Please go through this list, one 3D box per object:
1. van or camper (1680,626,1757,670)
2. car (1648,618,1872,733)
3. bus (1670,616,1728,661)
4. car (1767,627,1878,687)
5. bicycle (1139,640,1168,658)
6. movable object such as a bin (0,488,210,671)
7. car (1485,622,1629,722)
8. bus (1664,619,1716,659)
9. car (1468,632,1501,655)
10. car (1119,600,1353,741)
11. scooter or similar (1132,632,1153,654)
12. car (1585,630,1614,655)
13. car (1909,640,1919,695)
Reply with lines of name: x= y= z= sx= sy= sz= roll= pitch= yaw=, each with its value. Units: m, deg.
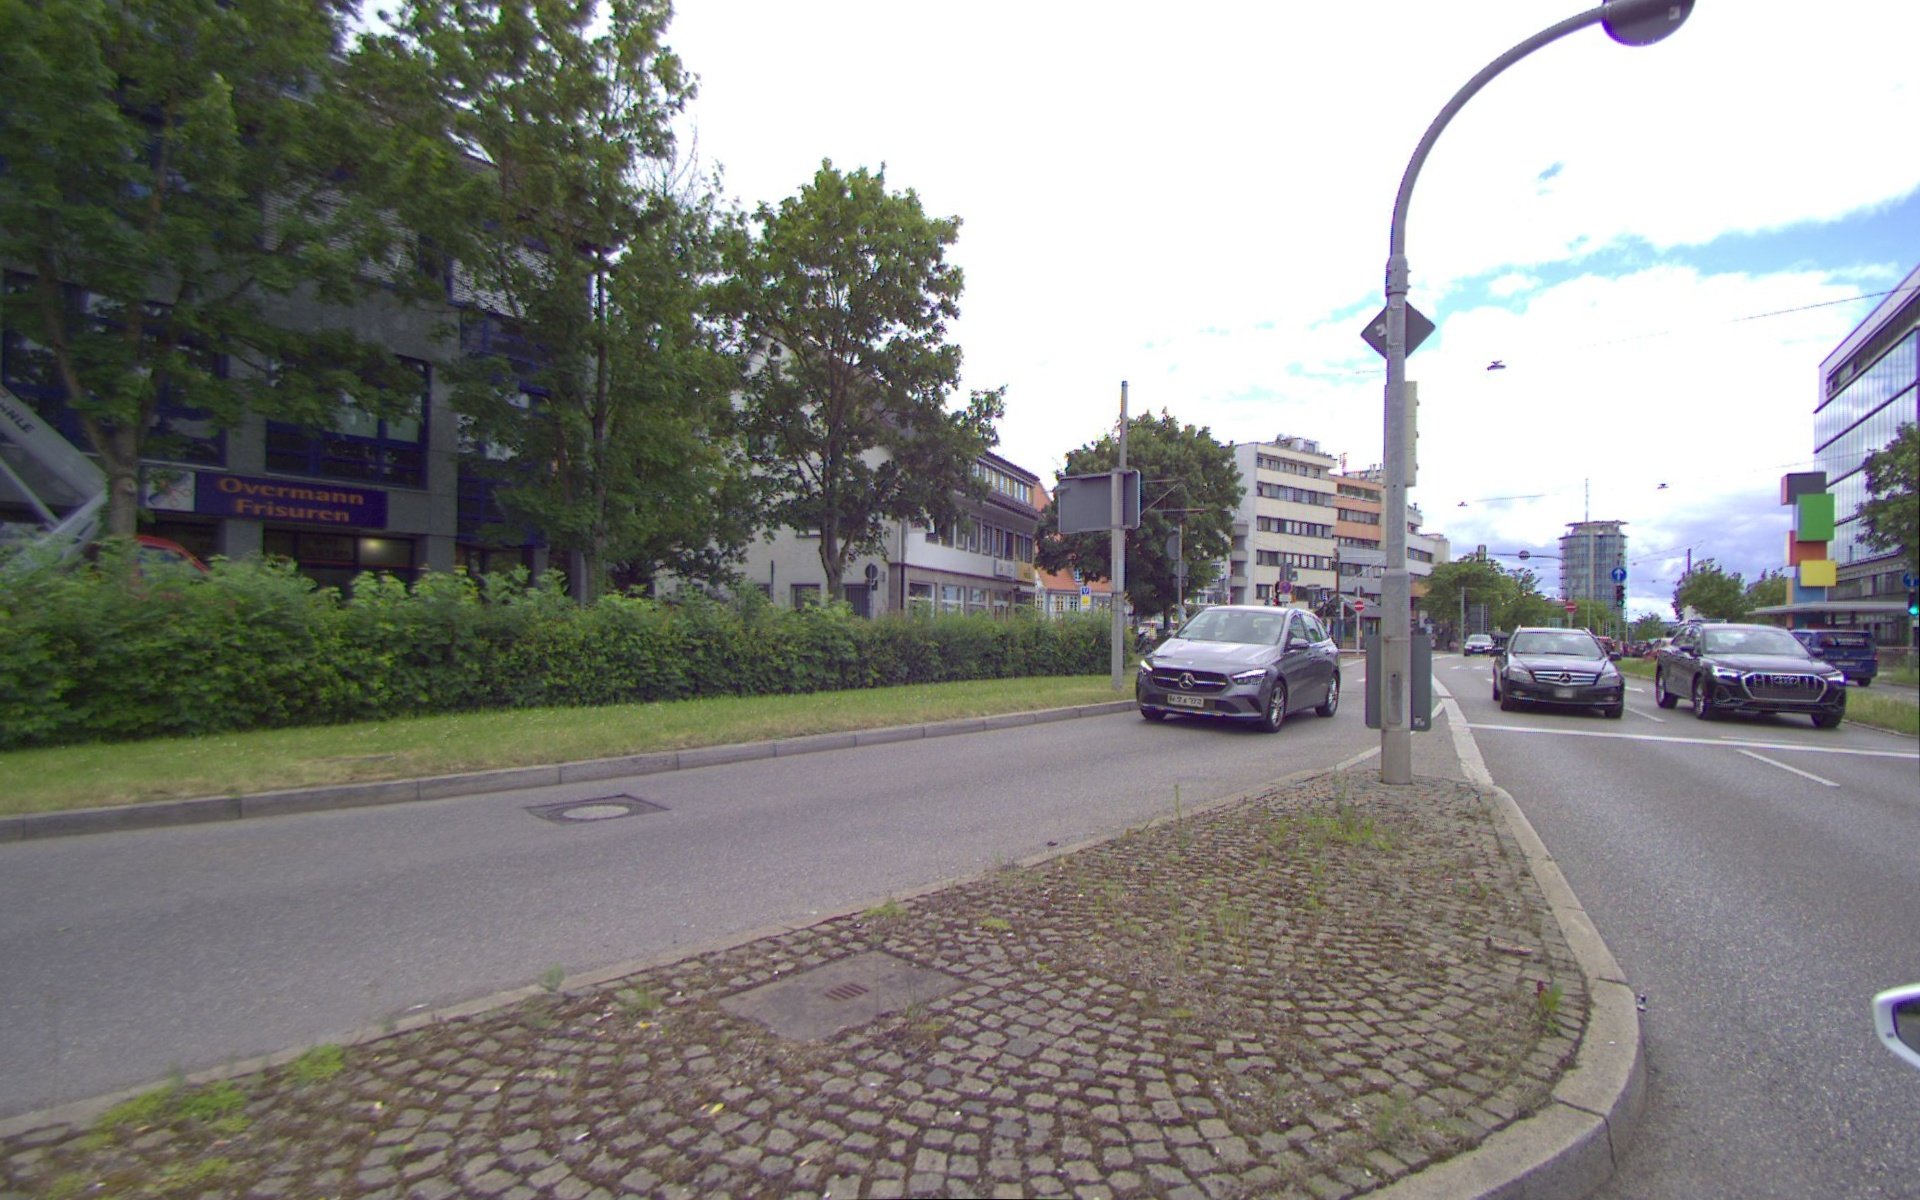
van or camper: x=37.470 y=2.322 z=49.721 sx=1.961 sy=1.943 sz=4.407 roll=1 pitch=0 yaw=23
car: x=13.411 y=1.161 z=17.173 sx=1.858 sy=1.585 sz=4.393 roll=2 pitch=0 yaw=23
bus: x=56.073 y=2.958 z=76.389 sx=2.925 sy=3.157 sz=9.221 roll=-1 pitch=-3 yaw=33
car: x=30.625 y=1.956 z=35.822 sx=1.873 sy=1.884 sz=4.704 roll=2 pitch=0 yaw=27
bicycle: x=8.924 y=2.265 z=46.348 sx=1.240 sy=0.815 sz=0.424 roll=0 pitch=-2 yaw=29
movable object such as a bin: x=-14.023 y=-0.309 z=15.011 sx=1.880 sy=2.565 sz=4.113 roll=2 pitch=1 yaw=35
car: x=10.567 y=1.182 z=18.053 sx=1.755 sy=1.445 sz=4.392 roll=2 pitch=0 yaw=25
bus: x=61.169 y=3.290 z=84.388 sx=2.911 sy=3.152 sz=9.951 roll=-1 pitch=-3 yaw=33
car: x=34.933 y=2.871 z=66.873 sx=1.772 sy=1.474 sz=4.604 roll=0 pitch=-2 yaw=30
car: x=3.919 y=0.829 z=13.714 sx=1.758 sy=1.558 sz=4.383 roll=2 pitch=0 yaw=34
scooter or similar: x=8.757 y=2.063 z=48.133 sx=0.484 sy=1.059 sz=1.171 roll=2 pitch=-1 yaw=39
car: x=53.531 y=3.520 z=84.113 sx=1.875 sy=1.884 sz=4.699 roll=2 pitch=0 yaw=32
car: x=26.597 y=1.863 z=26.190 sx=1.718 sy=1.500 sz=3.713 roll=2 pitch=0 yaw=28
